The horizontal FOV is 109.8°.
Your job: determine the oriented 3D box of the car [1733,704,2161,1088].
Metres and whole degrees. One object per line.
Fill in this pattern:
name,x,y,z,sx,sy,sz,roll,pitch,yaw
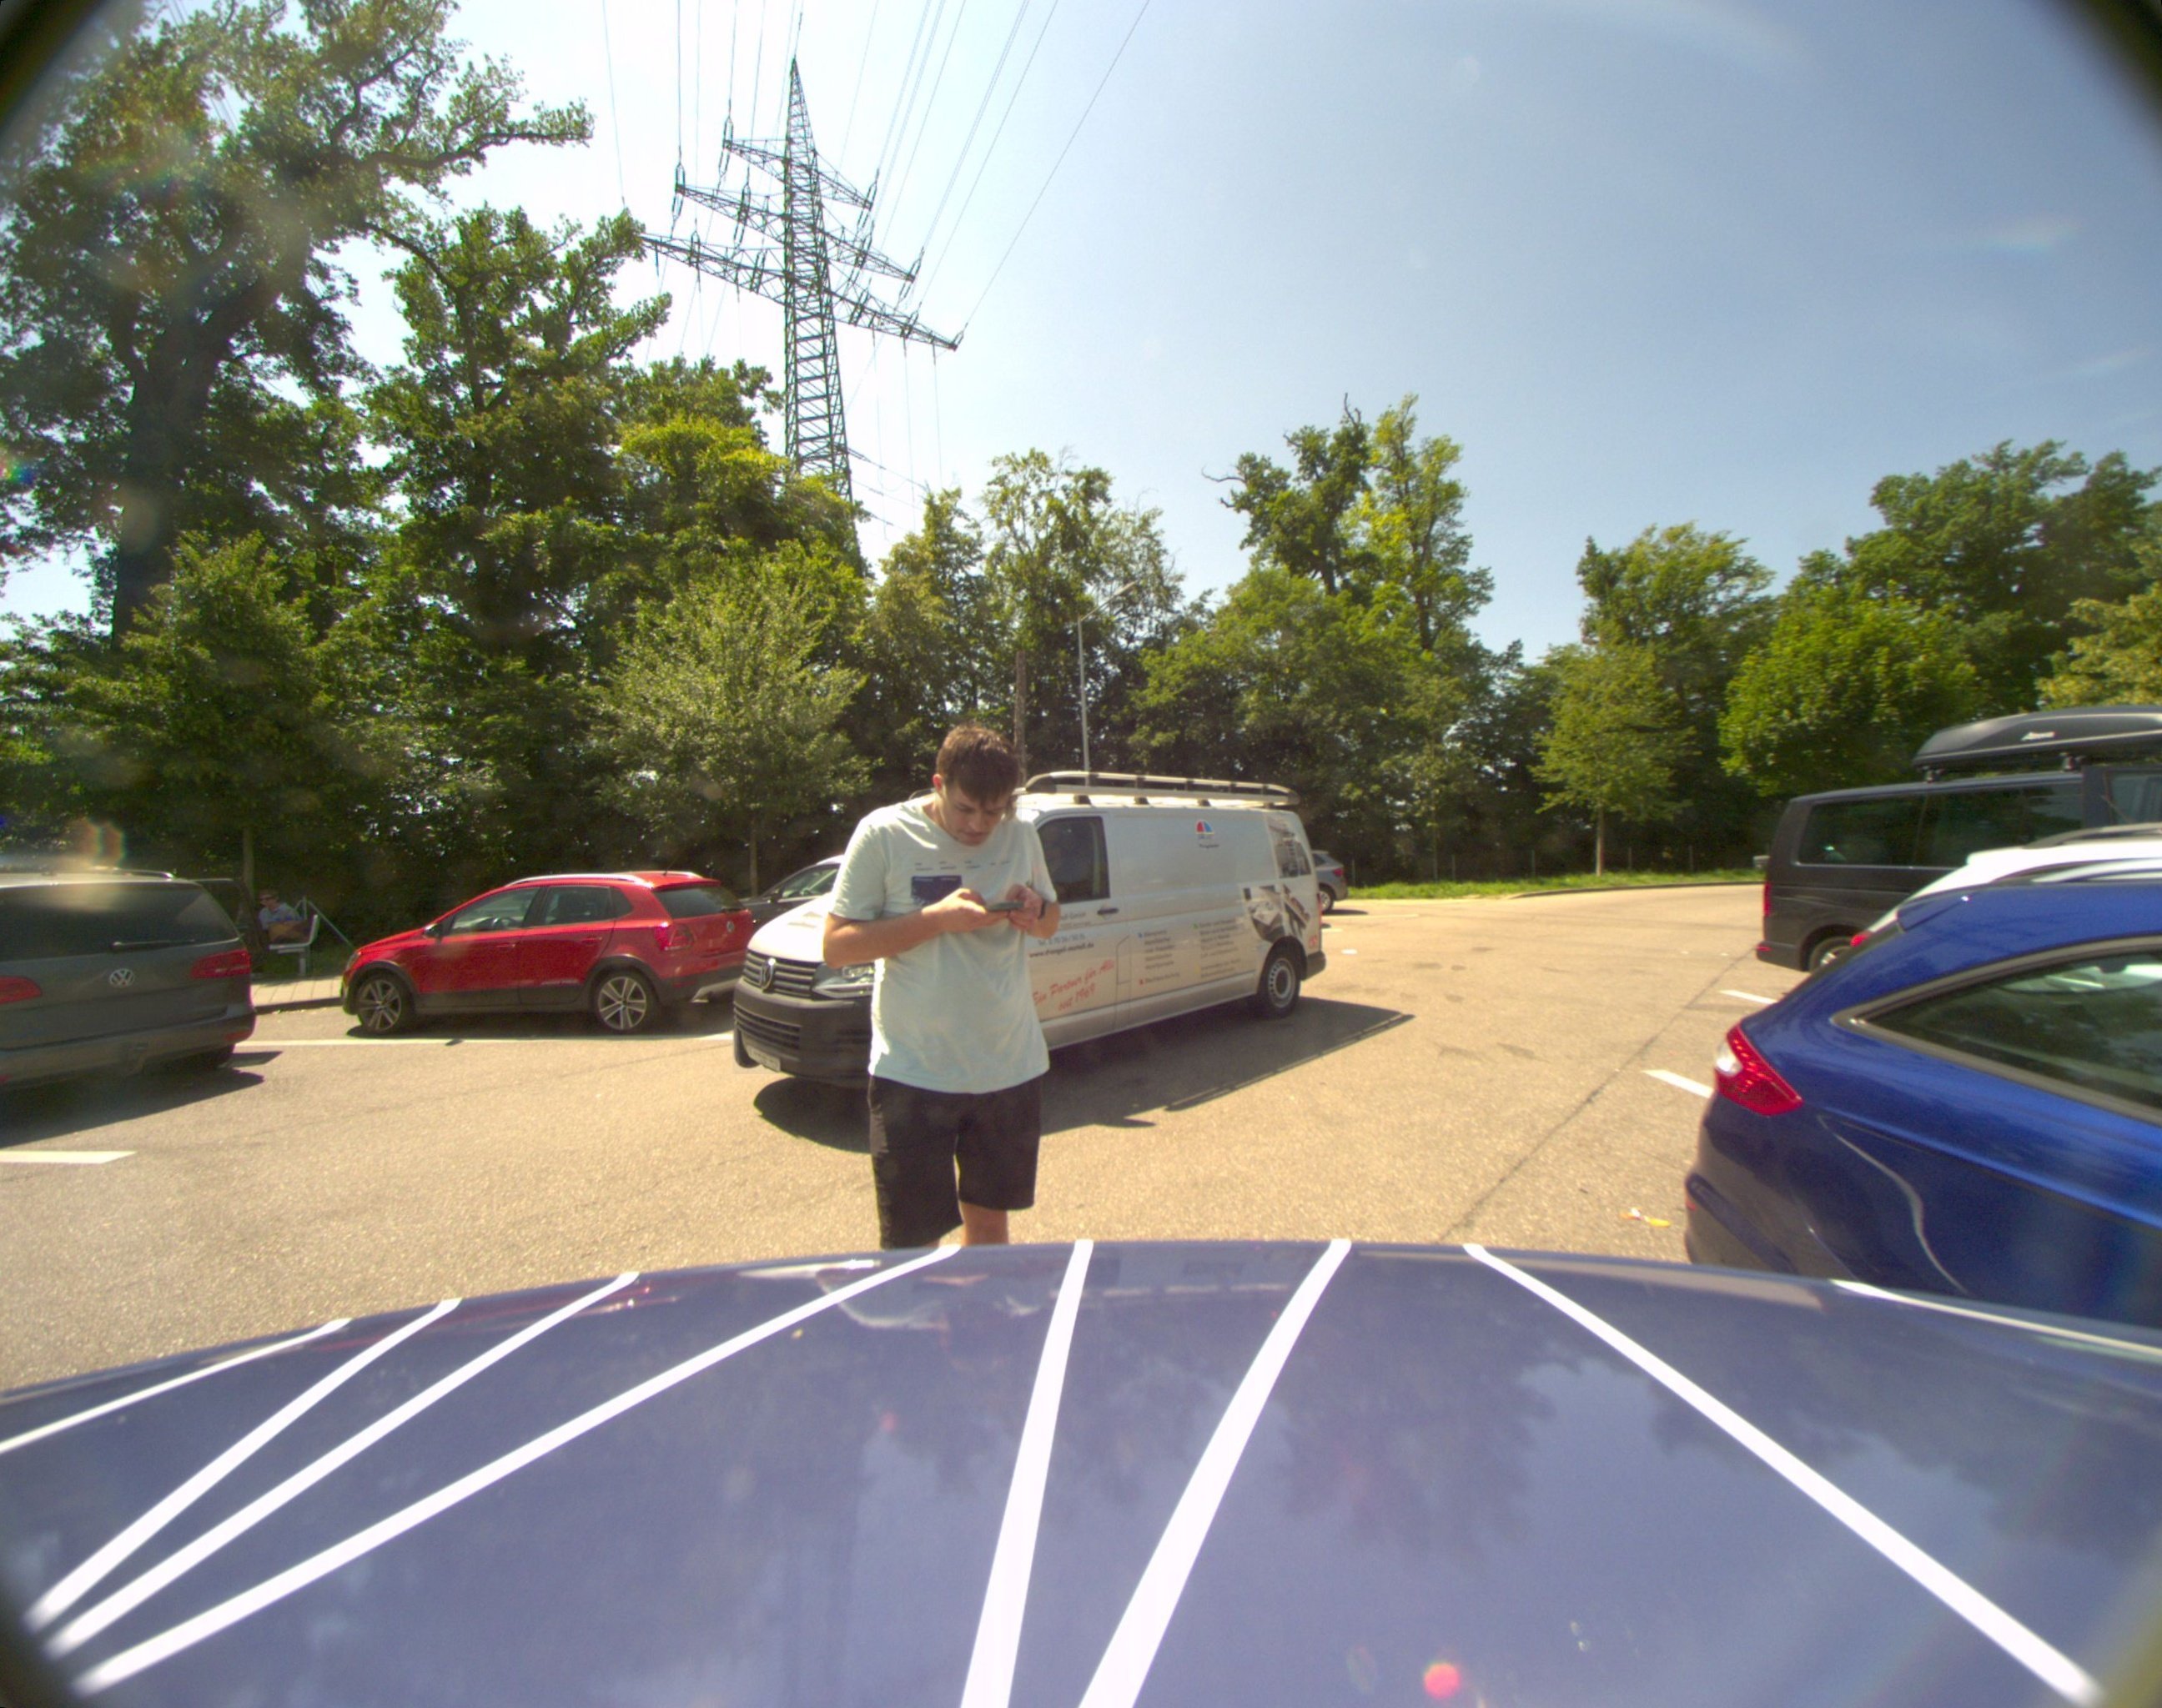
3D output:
car,7.297,0.237,5.249,1.788,2.304,4.084,-2,0,-5

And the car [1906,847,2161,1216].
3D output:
car,4.691,0.654,2.140,1.344,1.352,3.114,-2,0,1

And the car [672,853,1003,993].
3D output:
car,-3.115,0.864,10.286,3.866,1.607,1.709,-2,0,0

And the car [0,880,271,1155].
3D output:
car,-8.418,1.090,5.429,3.903,1.607,1.705,-2,1,11

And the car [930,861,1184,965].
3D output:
car,-0.308,0.897,12.262,3.773,1.445,1.848,-2,0,4

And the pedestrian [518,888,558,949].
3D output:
pedestrian,-10.988,1.290,15.384,0.413,1.186,0.443,-2,1,12

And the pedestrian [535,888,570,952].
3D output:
pedestrian,-10.184,1.266,14.652,0.366,1.186,0.356,-2,1,21

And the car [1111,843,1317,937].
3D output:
car,2.595,0.698,15.402,3.850,1.678,1.755,-2,0,4

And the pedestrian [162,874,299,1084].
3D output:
pedestrian,-7.379,1.045,6.608,0.481,1.712,0.589,-2,1,22

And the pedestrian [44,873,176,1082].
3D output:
pedestrian,-8.401,1.040,6.588,0.436,1.712,0.511,-2,1,17

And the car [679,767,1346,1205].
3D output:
car,0.005,0.593,6.192,5.445,2.092,1.839,-2,1,-45

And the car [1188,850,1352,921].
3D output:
car,4.398,0.725,18.115,3.585,1.493,1.707,-2,1,8

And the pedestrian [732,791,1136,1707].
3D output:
pedestrian,-0.375,0.790,1.877,0.741,1.818,0.613,-2,0,-34

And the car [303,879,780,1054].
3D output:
car,-5.250,1.065,7.654,3.745,1.458,1.621,-2,0,7

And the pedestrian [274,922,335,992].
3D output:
pedestrian,-10.792,1.413,10.578,0.503,0.874,0.512,-3,1,-39

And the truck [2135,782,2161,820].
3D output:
truck,40.255,-1.986,27.098,1.168,1.367,2.882,-2,-1,-19
